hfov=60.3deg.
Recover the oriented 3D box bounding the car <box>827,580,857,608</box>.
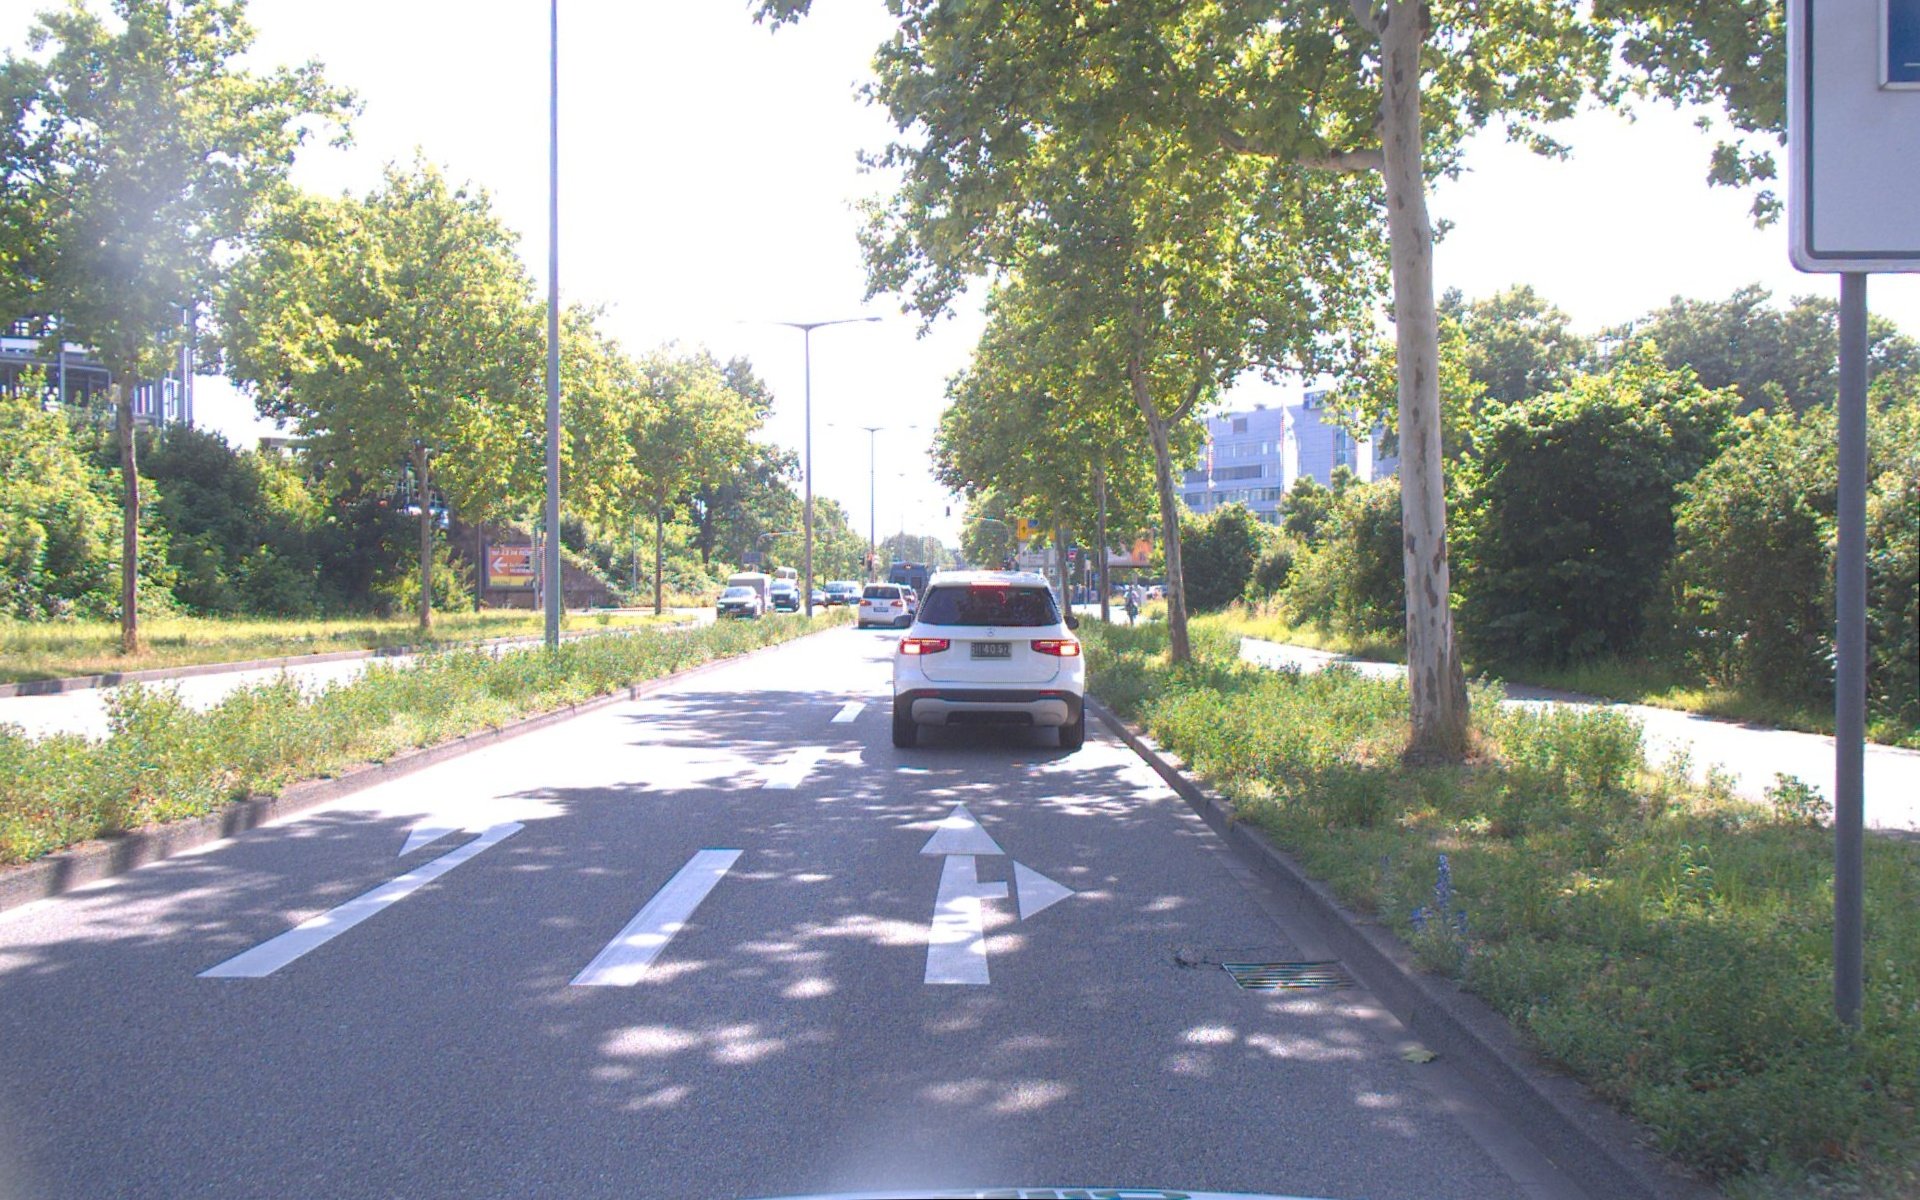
[{"bbox_3d":[-8.122,-0.400,114.282,1.695,1.841,4.232,2,0,1],"label":"car"}]

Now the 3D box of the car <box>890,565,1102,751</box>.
[{"bbox_3d":[0.235,0.506,16.605,1.817,1.635,3.997,0,0,-3],"label":"car"}]

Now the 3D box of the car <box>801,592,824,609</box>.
[{"bbox_3d":[-12.676,0.065,142.503,1.666,1.388,3.645,1,0,0],"label":"car"}]

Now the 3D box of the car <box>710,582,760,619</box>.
[{"bbox_3d":[-10.380,0.010,76.548,1.680,1.650,4.361,0,0,1],"label":"car"}]

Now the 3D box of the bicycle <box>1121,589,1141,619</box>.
[{"bbox_3d":[7.572,0.175,73.361,0.708,1.321,2.096,1,0,1],"label":"bicycle"}]

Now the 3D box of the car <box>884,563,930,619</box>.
[{"bbox_3d":[-2.645,-0.450,83.316,2.038,2.703,4.874,1,0,1],"label":"car"}]

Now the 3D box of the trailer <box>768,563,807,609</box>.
[{"bbox_3d":[-11.026,-0.874,105.857,1.841,2.792,4.829,2,0,1],"label":"trailer"}]

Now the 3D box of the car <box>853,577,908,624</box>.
[{"bbox_3d":[-2.900,0.005,61.320,1.735,1.676,4.352,1,0,1],"label":"car"}]

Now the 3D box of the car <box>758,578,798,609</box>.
[{"bbox_3d":[-11.106,-0.408,101.386,1.728,1.821,5.376,2,0,1],"label":"car"}]

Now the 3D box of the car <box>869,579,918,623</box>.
[{"bbox_3d":[-2.660,0.036,67.226,1.735,1.676,4.085,1,0,1],"label":"car"}]

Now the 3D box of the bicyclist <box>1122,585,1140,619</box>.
[{"bbox_3d":[7.591,0.078,73.357,0.689,1.503,1.010,1,0,1],"label":"bicyclist"}]

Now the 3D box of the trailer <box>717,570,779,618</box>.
[{"bbox_3d":[-10.387,-0.298,81.510,2.261,2.305,5.538,0,0,1],"label":"trailer"}]
